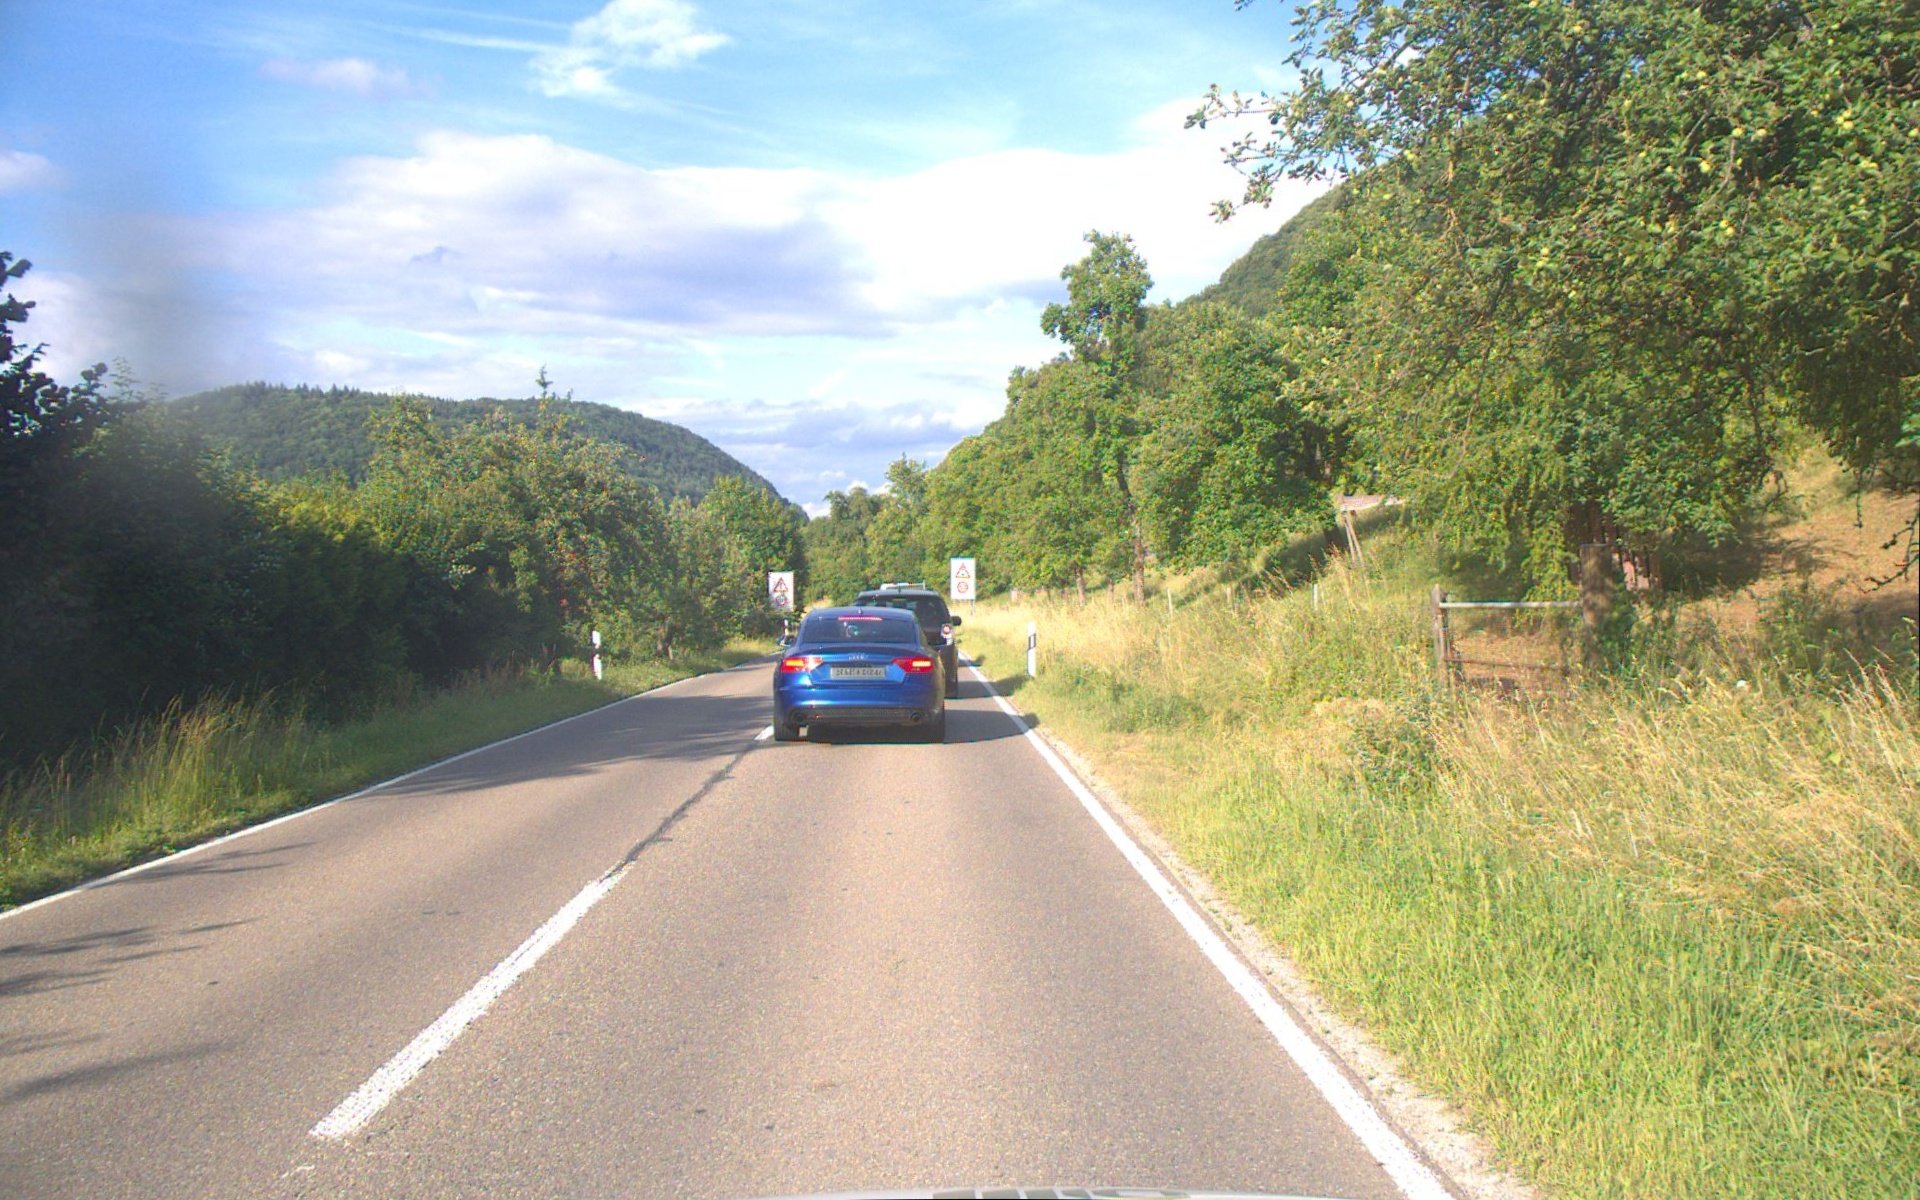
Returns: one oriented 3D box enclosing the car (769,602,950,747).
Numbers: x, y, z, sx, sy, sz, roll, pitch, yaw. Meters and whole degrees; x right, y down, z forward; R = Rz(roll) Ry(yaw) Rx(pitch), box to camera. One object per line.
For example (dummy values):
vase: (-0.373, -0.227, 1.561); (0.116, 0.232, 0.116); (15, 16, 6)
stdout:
car: (-1.052, 0.748, 18.391); (1.769, 1.406, 4.213); (0, 0, -2)

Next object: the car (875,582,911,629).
car: (-3.653, 0.296, 89.546); (1.757, 2.496, 3.915); (1, 0, -5)

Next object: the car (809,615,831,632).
car: (-13.963, 2.339, 165.010); (1.532, 1.522, 3.764); (1, 0, -14)

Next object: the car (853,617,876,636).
car: (-7.996, 2.190, 138.342); (1.530, 1.522, 3.768); (1, 0, -10)

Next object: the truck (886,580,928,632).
truck: (-2.564, 0.293, 79.006); (1.911, 2.386, 5.091); (1, 0, -3)

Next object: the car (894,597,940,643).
car: (-1.634, 0.718, 62.152); (1.659, 1.652, 3.787); (0, 0, -2)

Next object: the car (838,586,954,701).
car: (-0.992, 0.621, 25.702); (1.659, 1.652, 3.787); (0, 0, -2)
